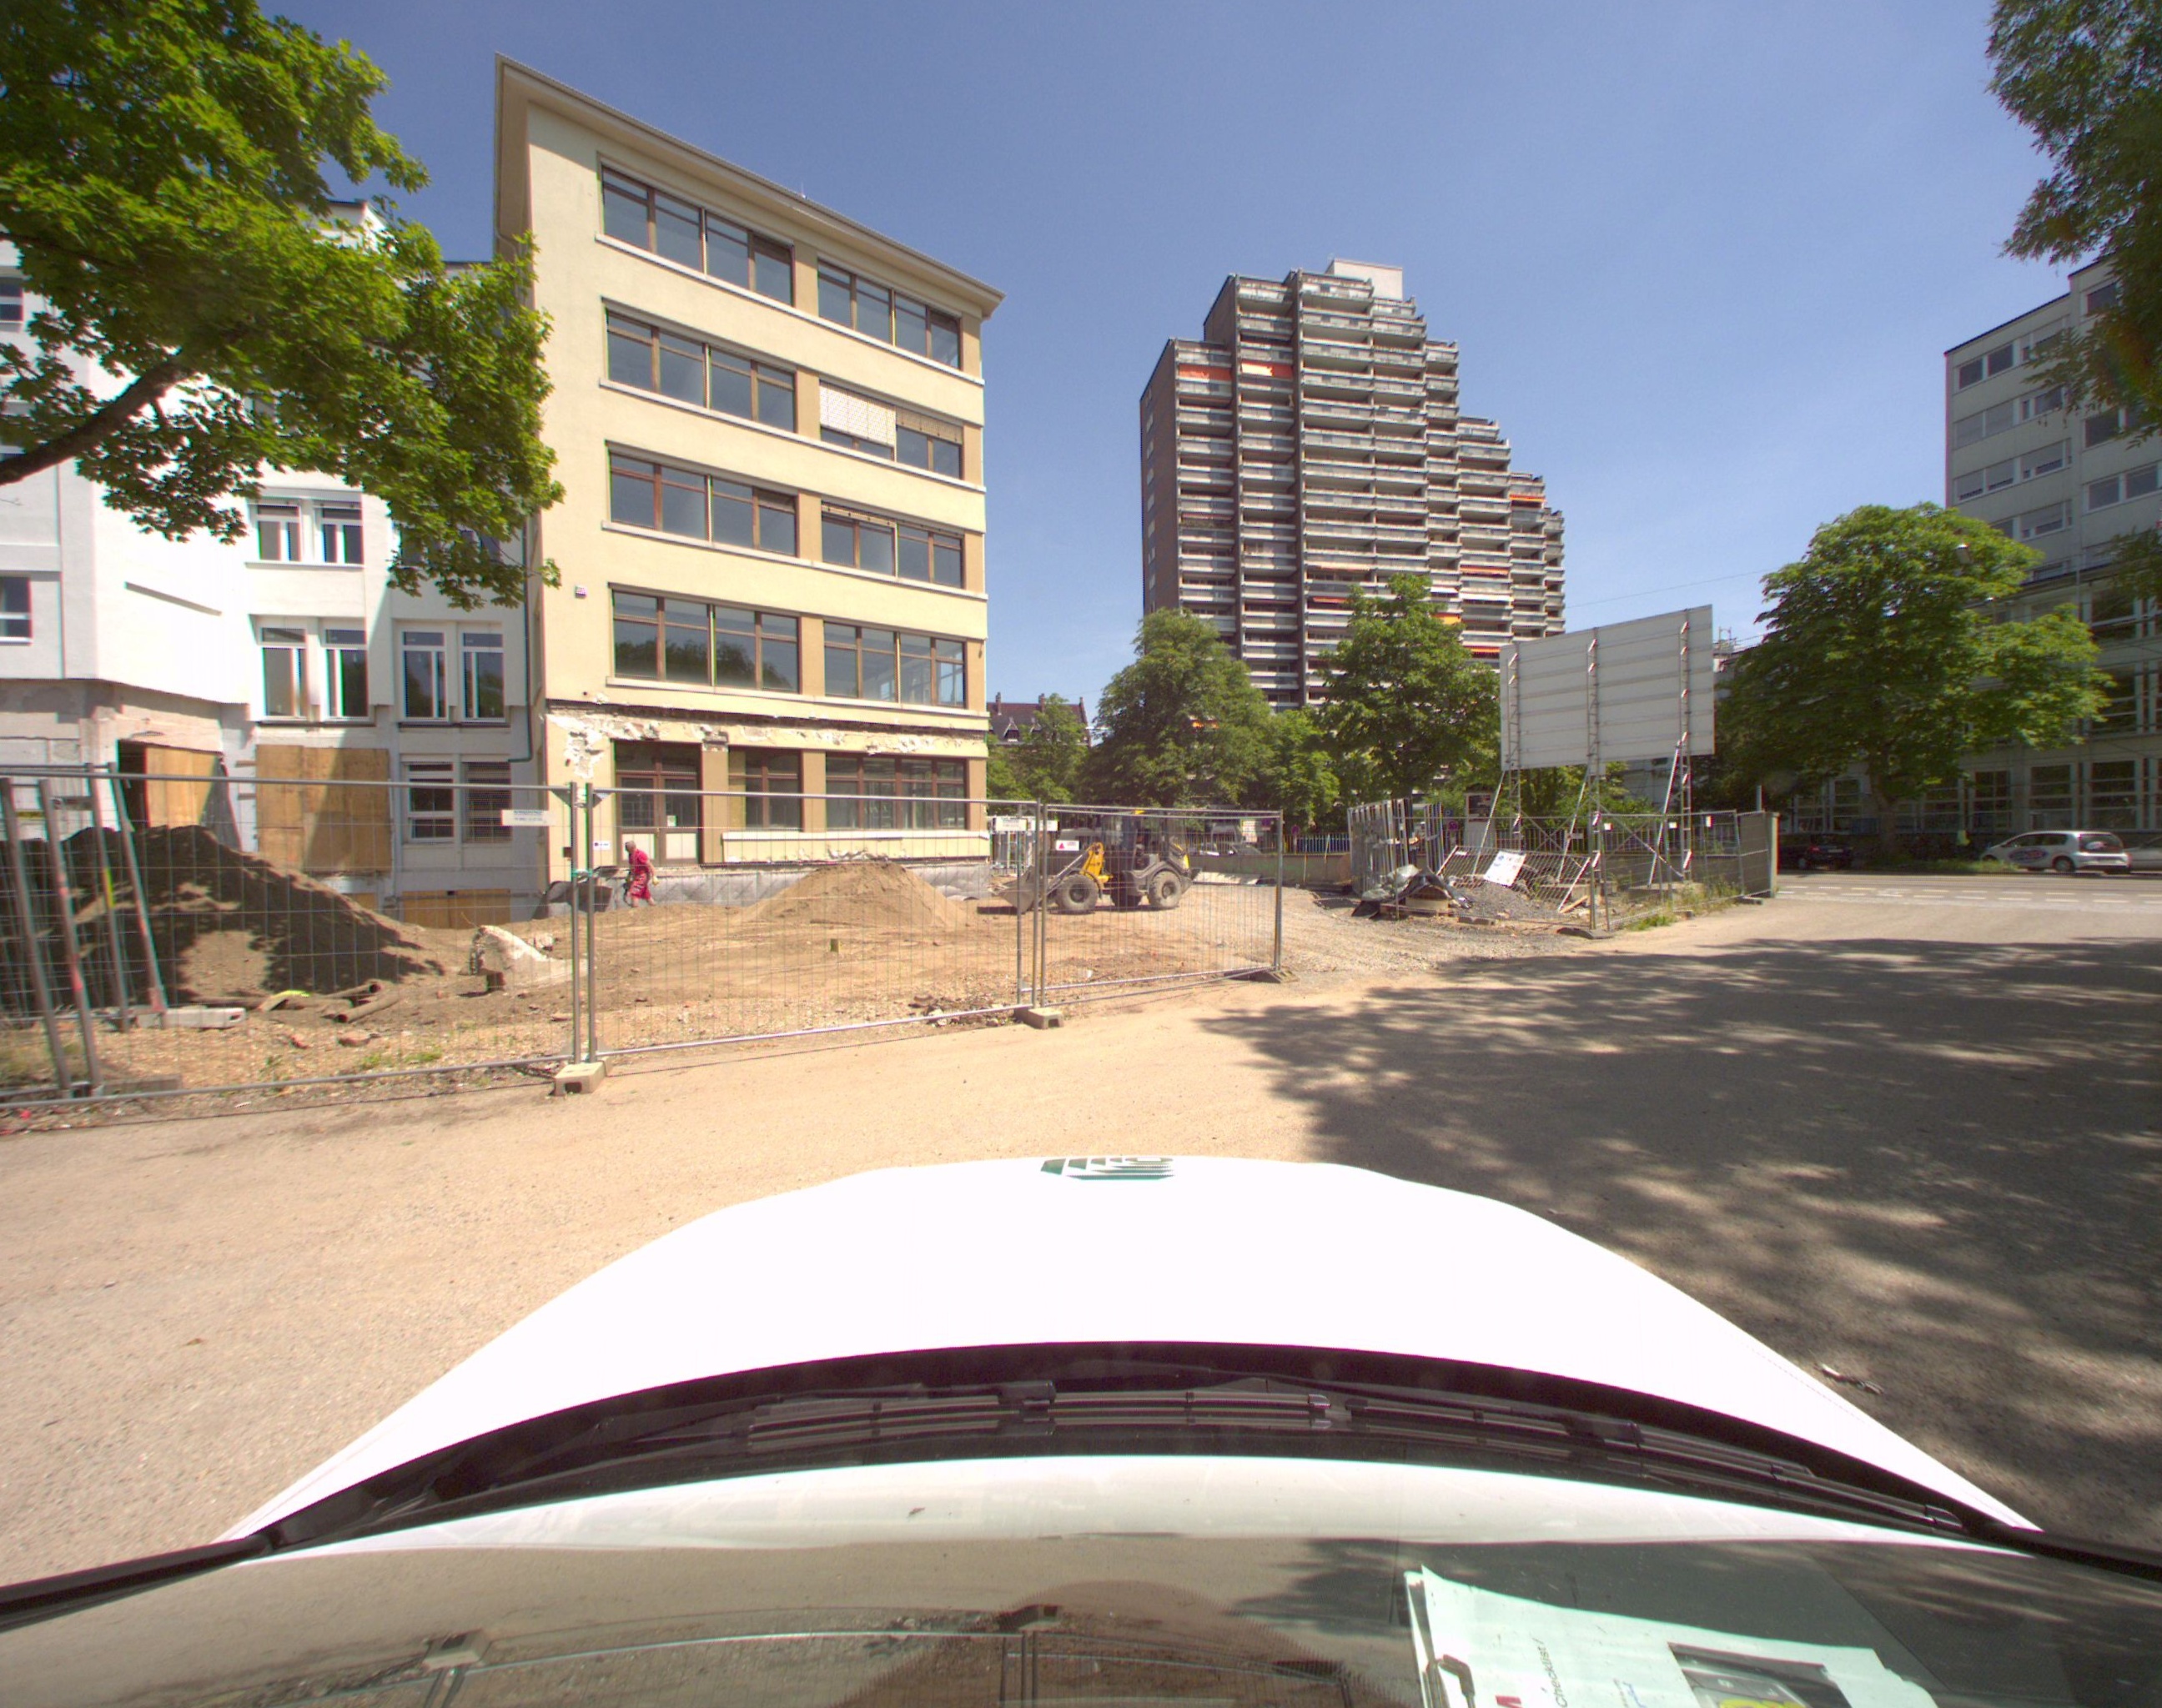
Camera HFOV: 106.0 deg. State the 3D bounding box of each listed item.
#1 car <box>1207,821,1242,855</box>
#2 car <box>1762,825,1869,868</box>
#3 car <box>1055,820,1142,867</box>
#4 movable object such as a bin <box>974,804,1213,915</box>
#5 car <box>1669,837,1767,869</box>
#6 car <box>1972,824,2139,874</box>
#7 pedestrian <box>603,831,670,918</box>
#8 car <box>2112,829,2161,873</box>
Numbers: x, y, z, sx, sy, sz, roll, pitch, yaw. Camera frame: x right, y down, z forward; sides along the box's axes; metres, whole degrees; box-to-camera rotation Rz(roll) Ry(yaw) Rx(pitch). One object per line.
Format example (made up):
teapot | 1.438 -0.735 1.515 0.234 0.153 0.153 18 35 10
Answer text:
car | 10.409 -1.130 58.793 2.169 2.258 4.887 -1 0 13
car | 30.036 -0.313 33.459 1.994 1.629 3.951 -1 0 22
car | 0.889 -0.545 45.208 2.009 2.416 5.184 -1 0 -37
movable object such as a bin | 0.271 0.065 20.011 5.418 2.464 2.354 -1 1 -18
car | 27.842 -0.053 35.735 1.901 1.310 3.945 -1 0 13
car | 33.892 -0.178 28.492 1.655 1.589 3.700 -1 0 7
pedestrian | -9.814 0.425 17.977 0.905 1.846 0.992 -1 0 40
car | 35.583 -0.111 25.746 1.653 1.415 3.722 -1 0 10
